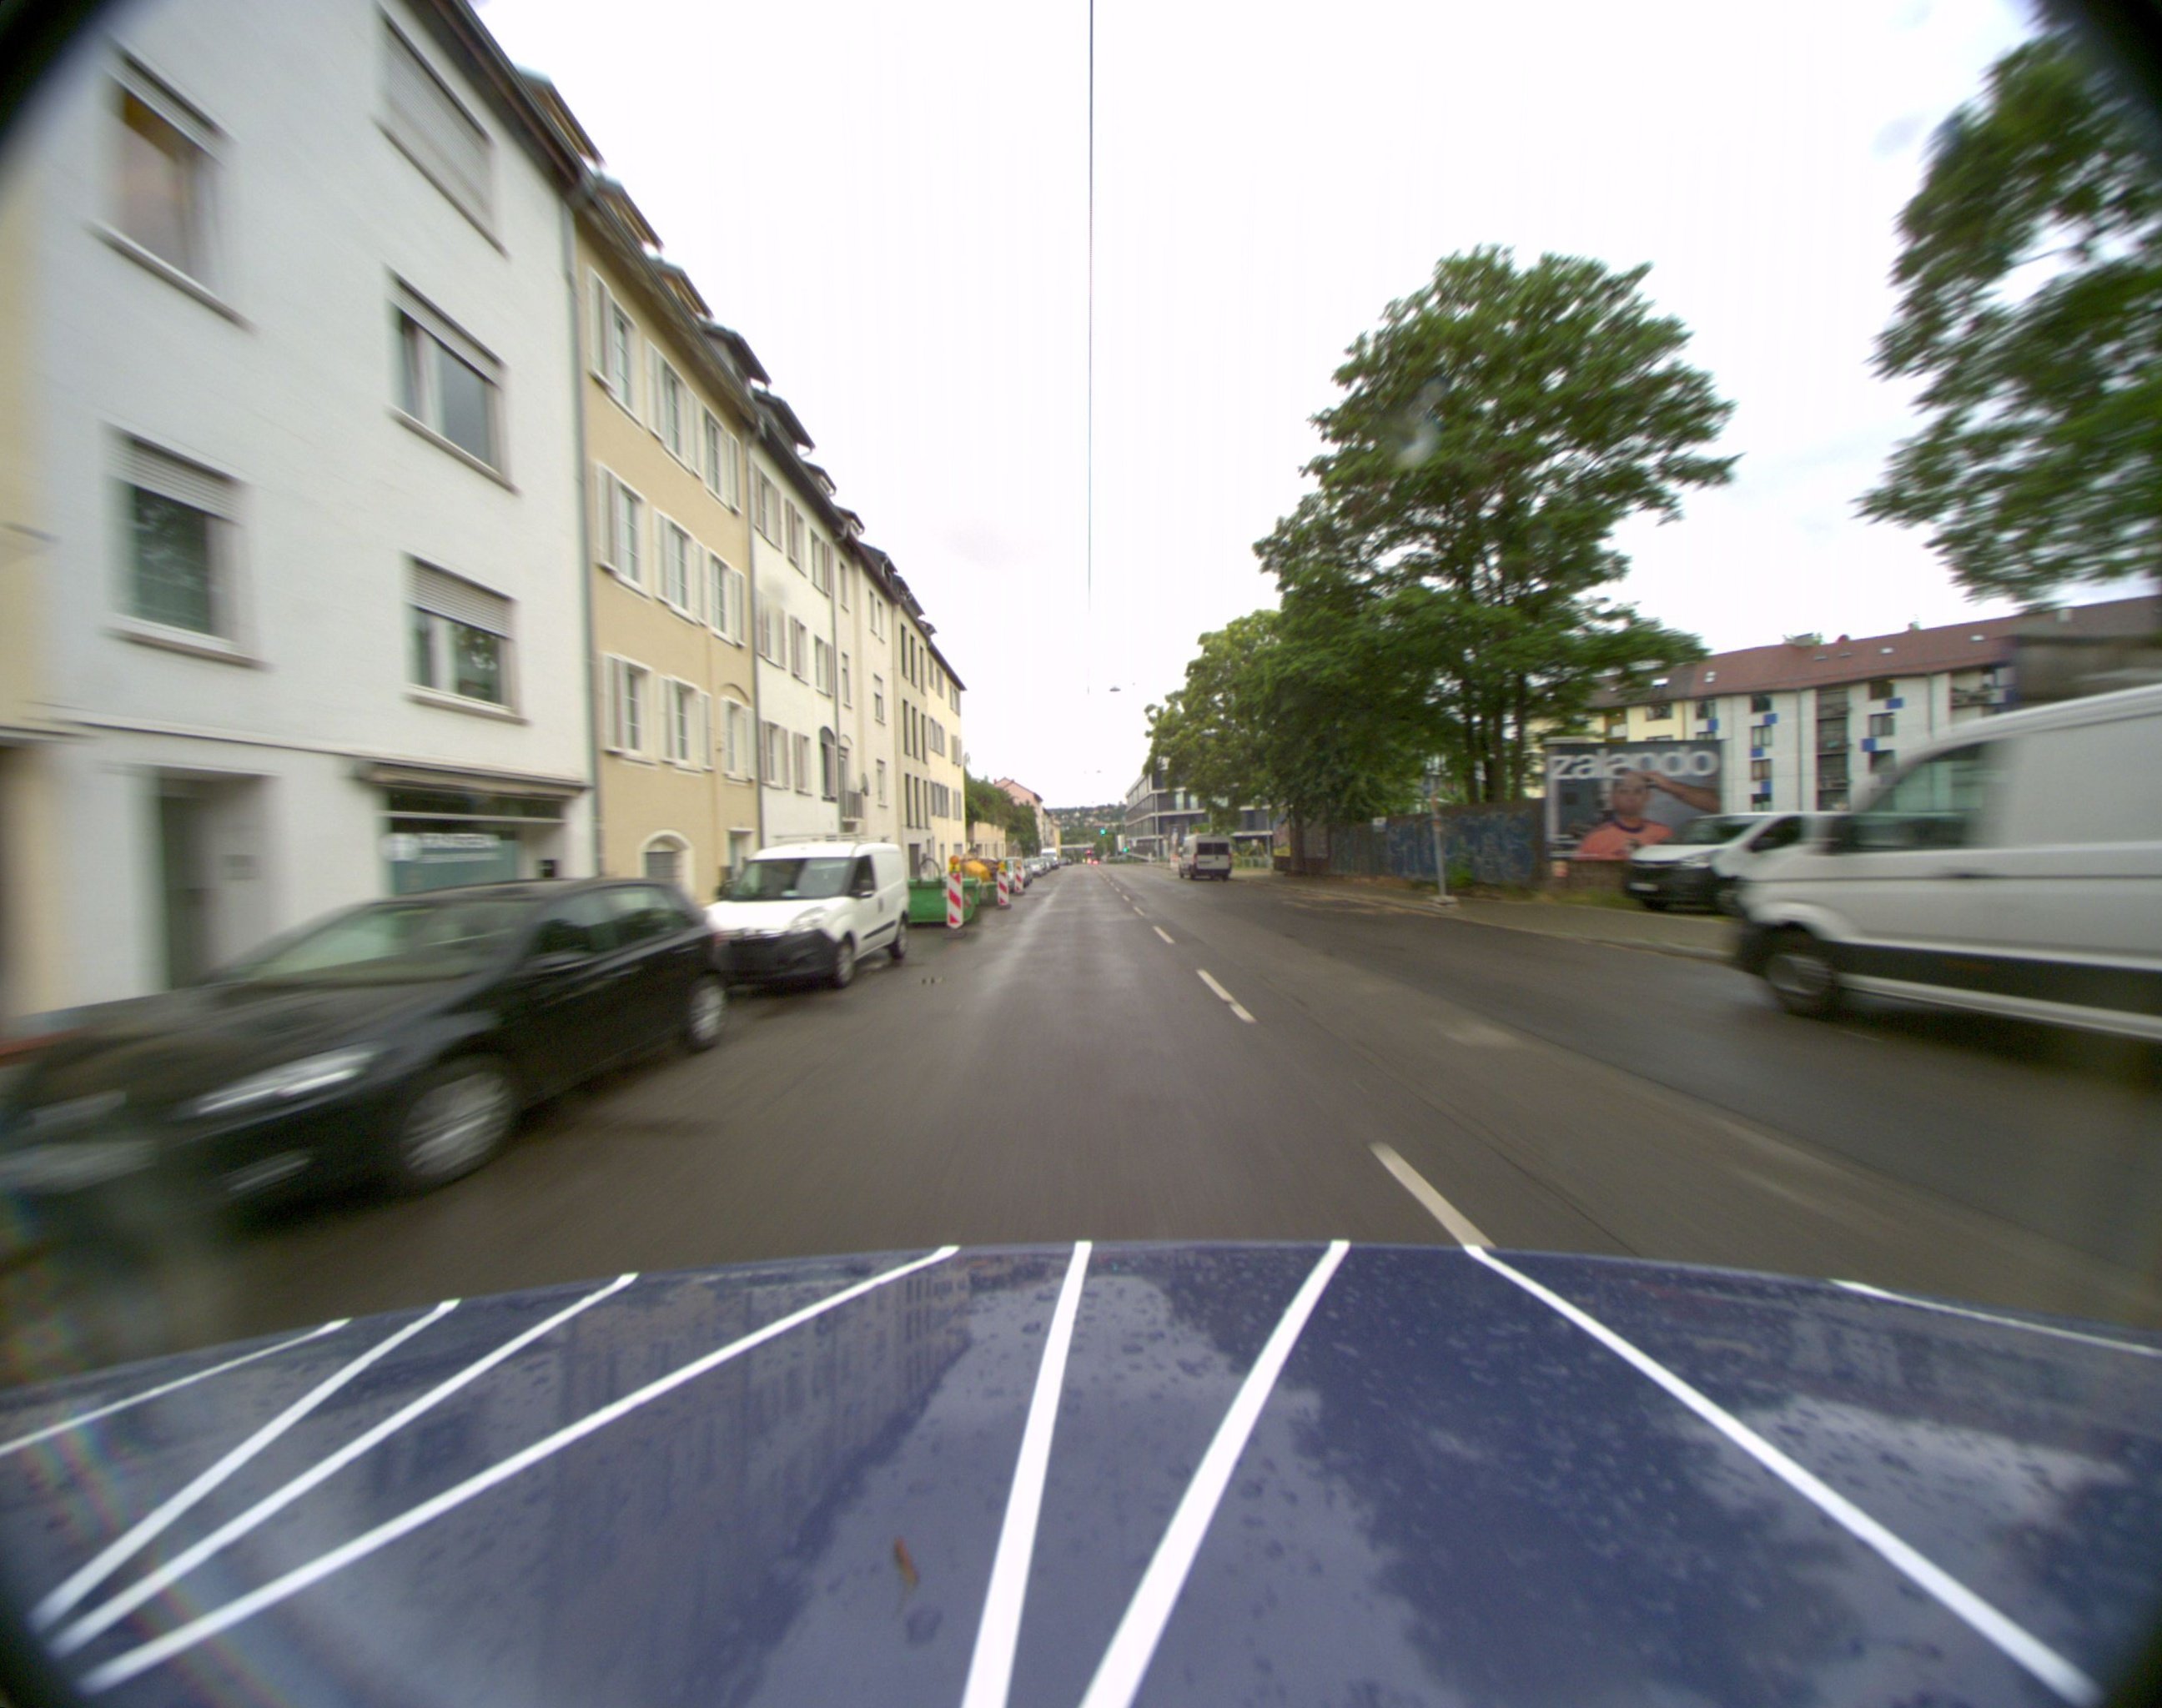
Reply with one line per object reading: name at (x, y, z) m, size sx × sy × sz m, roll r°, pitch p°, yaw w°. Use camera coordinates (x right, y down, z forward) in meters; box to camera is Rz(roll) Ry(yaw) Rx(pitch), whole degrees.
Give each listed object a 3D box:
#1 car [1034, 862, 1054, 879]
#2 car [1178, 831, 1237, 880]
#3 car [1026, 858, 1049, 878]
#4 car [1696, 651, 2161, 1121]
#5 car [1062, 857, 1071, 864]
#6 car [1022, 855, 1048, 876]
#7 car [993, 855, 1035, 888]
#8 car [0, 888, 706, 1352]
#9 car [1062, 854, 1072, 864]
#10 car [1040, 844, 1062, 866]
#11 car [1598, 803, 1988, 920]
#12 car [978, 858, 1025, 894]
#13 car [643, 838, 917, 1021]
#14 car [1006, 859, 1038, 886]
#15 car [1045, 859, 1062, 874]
car at (-3.599, 1.613, 74.539) m, size 1.693 × 1.445 × 4.235 m, roll -3°, pitch 0°, yaw 0°
car at (7.047, 0.054, 43.088) m, size 2.236 × 2.564 × 6.536 m, roll 0°, pitch 0°, yaw -1°
car at (-3.553, 1.136, 63.186) m, size 1.633 × 1.445 × 3.759 m, roll -3°, pitch 0°, yaw 0°
car at (6.697, 0.157, 4.092) m, size 2.017 × 2.473 × 5.983 m, roll -1°, pitch 0°, yaw 1°
car at (-2.755, 1.222, 144.005) m, size 1.630 × 1.402 × 3.778 m, roll -2°, pitch 0°, yaw 1°
car at (-3.437, 0.818, 57.458) m, size 1.633 × 1.445 × 3.759 m, roll -3°, pitch 0°, yaw 0°
car at (-3.452, 0.876, 39.817) m, size 1.720 × 1.515 × 4.000 m, roll -3°, pitch 0°, yaw 0°
car at (-3.893, 1.045, 4.464) m, size 1.581 × 1.462 × 3.501 m, roll -2°, pitch 0°, yaw 0°
car at (-2.728, 0.969, 149.111) m, size 1.630 × 1.740 × 3.778 m, roll -2°, pitch 0°, yaw 1°
car at (-3.595, 0.109, 93.060) m, size 2.211 × 2.449 × 6.079 m, roll -3°, pitch 0°, yaw 1°
car at (13.282, 0.121, 14.443) m, size 5.514 × 1.998 × 2.146 m, roll -1°, pitch 1°, yaw -2°
car at (-3.540, 0.941, 34.362) m, size 1.630 × 1.402 × 3.842 m, roll -3°, pitch 0°, yaw 1°
car at (-3.716, 0.805, 10.323) m, size 1.822 × 1.913 × 4.239 m, roll -2°, pitch 0°, yaw 2°
car at (-3.491, 1.046, 45.361) m, size 1.562 × 1.445 × 3.759 m, roll -3°, pitch 0°, yaw 0°
car at (-3.088, 1.378, 85.703) m, size 1.693 × 1.445 × 4.235 m, roll -3°, pitch 0°, yaw 0°
